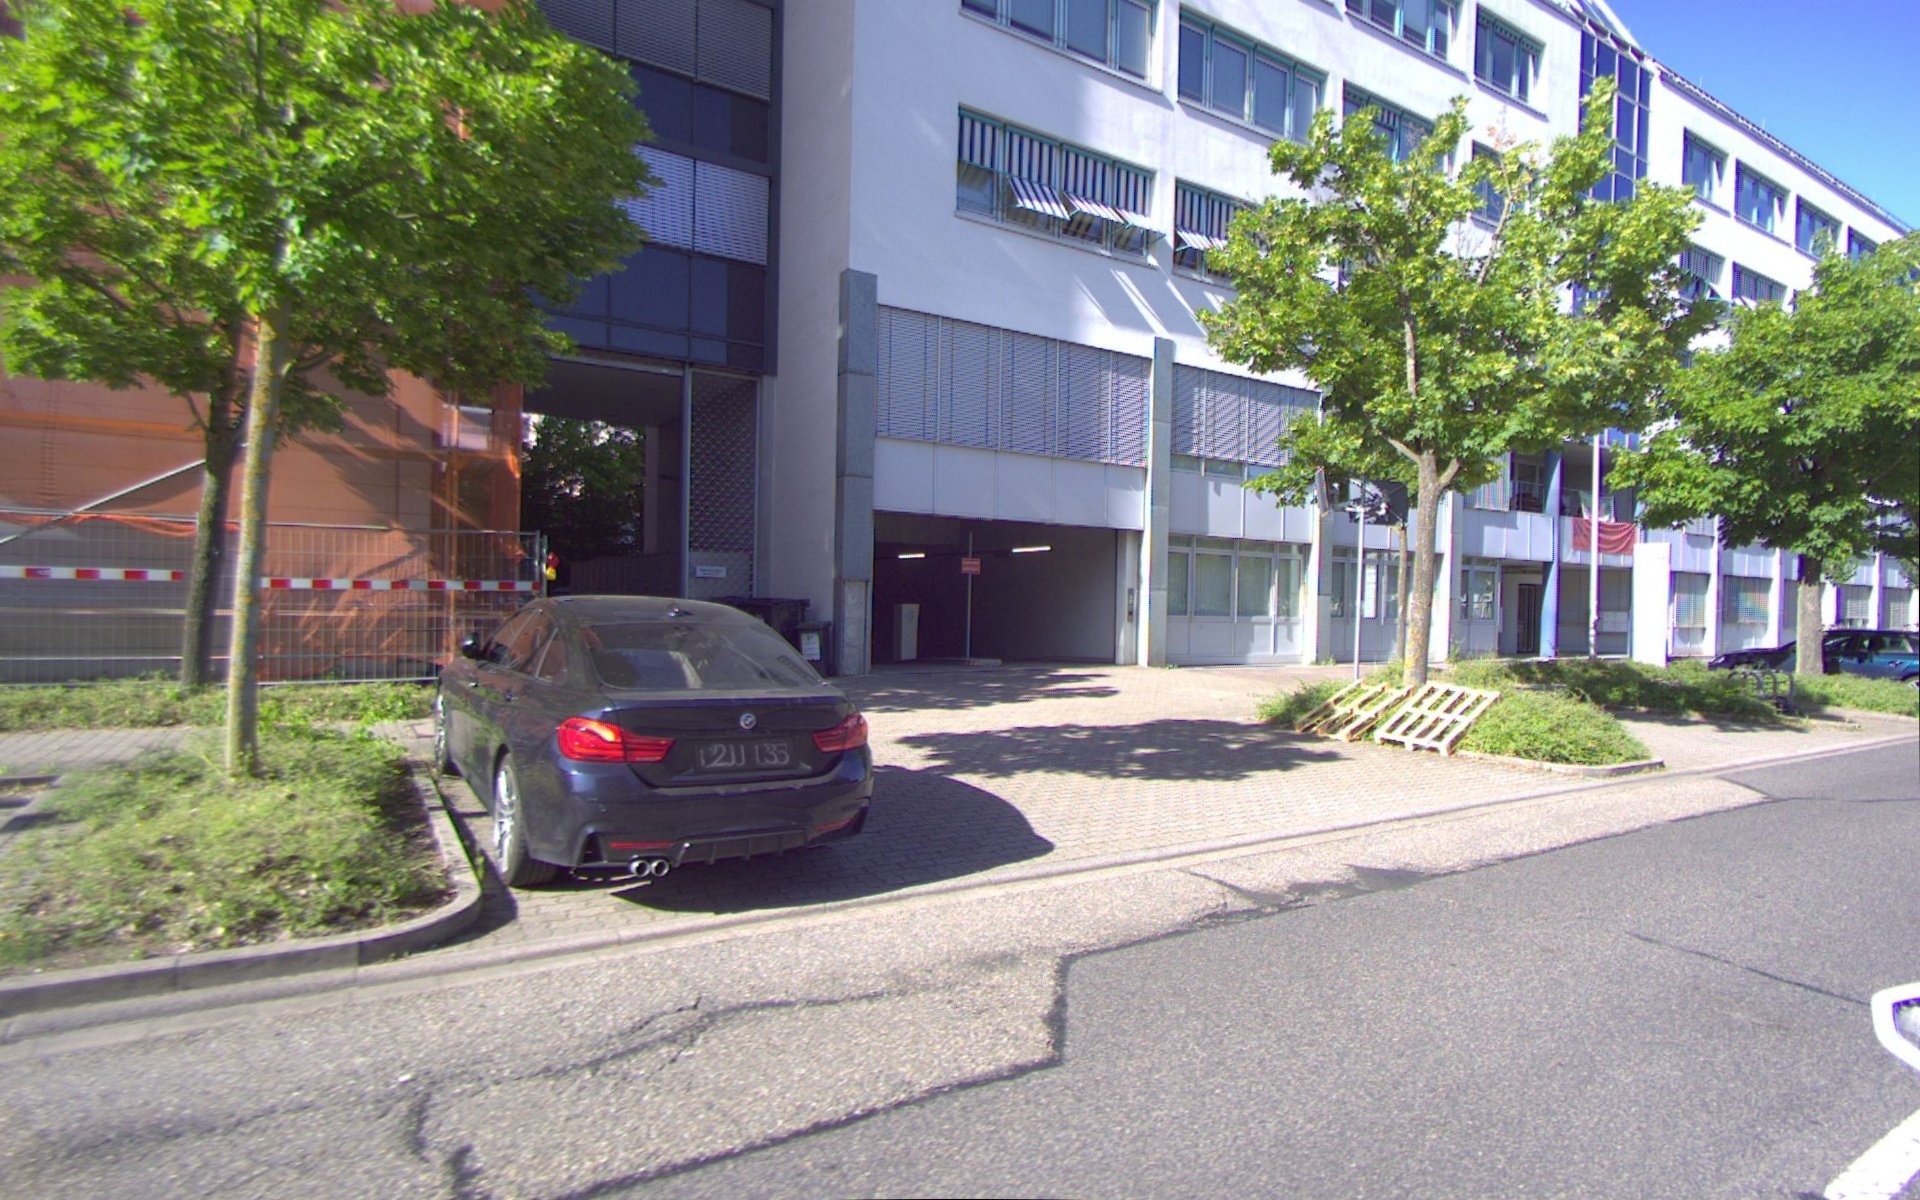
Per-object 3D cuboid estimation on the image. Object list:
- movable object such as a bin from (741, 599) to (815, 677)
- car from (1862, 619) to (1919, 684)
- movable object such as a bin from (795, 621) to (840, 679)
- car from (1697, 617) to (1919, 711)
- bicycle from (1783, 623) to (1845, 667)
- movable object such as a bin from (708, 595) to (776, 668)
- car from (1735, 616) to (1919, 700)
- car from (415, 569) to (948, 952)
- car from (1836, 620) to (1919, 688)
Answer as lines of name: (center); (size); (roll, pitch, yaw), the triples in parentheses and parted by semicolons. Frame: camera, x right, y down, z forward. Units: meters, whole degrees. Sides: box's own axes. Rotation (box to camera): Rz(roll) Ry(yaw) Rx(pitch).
movable object such as a bin: (-3.169, 0.639, 17.467); (0.903, 1.297, 1.231); (2, -1, -29)
car: (25.499, 1.411, 24.904); (1.677, 1.558, 4.354); (1, 2, -36)
movable object such as a bin: (-2.382, 0.835, 16.802); (0.603, 0.939, 0.485); (2, -1, -29)
car: (17.284, 1.222, 19.580); (1.676, 1.451, 4.357); (1, 2, -34)
bicycle: (27.155, 1.438, 31.943); (2.203, 1.365, 0.706); (2, -1, -27)
movable object such as a bin: (-4.040, 0.568, 18.579); (0.903, 1.297, 1.231); (2, -1, -29)
car: (19.192, 1.225, 21.006); (1.674, 1.451, 4.361); (2, 2, -31)
car: (-2.128, 0.631, 6.486); (1.958, 1.451, 4.355); (1, 2, -35)
car: (23.139, 1.350, 22.980); (1.676, 1.451, 4.357); (1, 2, -34)
